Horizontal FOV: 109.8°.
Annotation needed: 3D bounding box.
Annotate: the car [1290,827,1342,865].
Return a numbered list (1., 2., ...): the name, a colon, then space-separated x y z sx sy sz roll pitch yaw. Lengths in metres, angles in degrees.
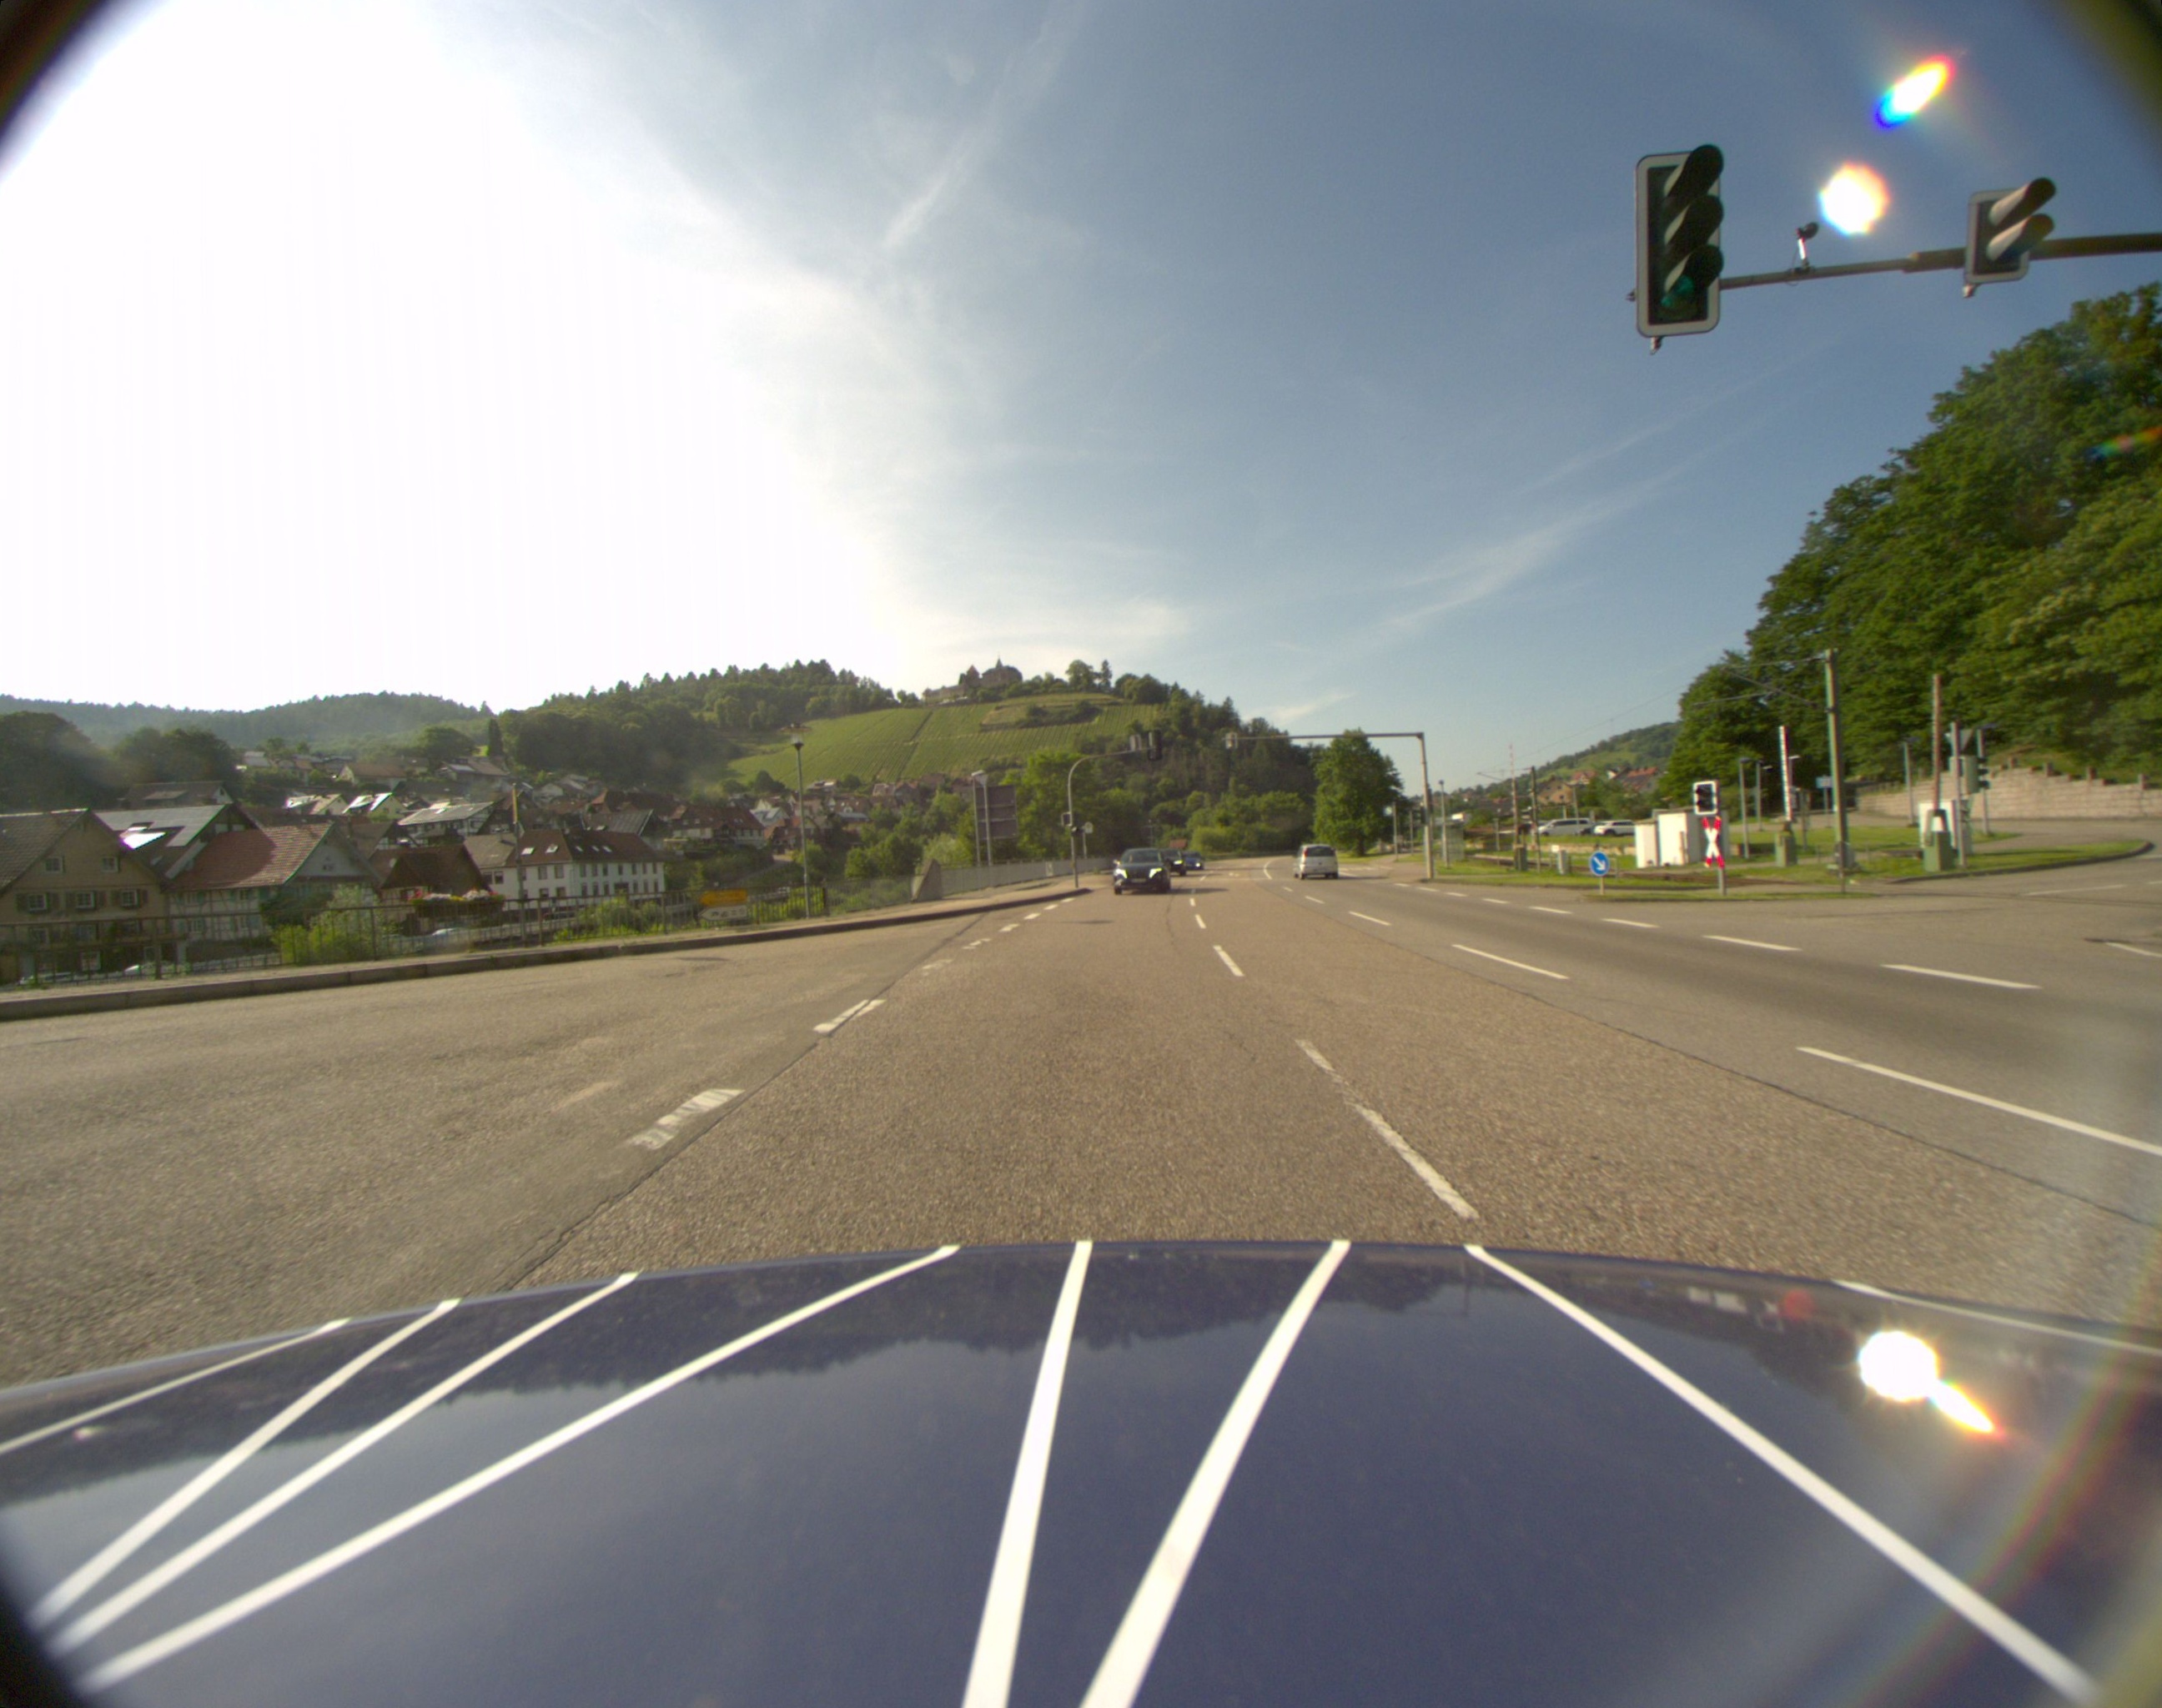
1. car: 11.023 -0.395 35.857 1.695 1.647 4.173 -2 1 8

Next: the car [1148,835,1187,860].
1. car: 5.141 -0.374 44.664 1.997 1.384 4.003 -2 0 10

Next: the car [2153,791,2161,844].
1. car: 33.253 -1.221 21.917 4.003 1.500 1.890 -5 2 -23

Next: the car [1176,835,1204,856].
1. car: 8.167 -0.647 56.719 1.866 1.483 4.003 -2 0 11

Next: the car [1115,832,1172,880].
1. car: 2.374 0.023 28.101 1.862 1.576 4.001 -2 1 8

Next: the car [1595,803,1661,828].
1. car: 43.405 -3.047 60.380 3.991 1.740 1.643 -2 1 21

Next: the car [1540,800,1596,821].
1. car: 49.194 -4.368 76.819 4.443 1.793 2.003 -1 1 21
